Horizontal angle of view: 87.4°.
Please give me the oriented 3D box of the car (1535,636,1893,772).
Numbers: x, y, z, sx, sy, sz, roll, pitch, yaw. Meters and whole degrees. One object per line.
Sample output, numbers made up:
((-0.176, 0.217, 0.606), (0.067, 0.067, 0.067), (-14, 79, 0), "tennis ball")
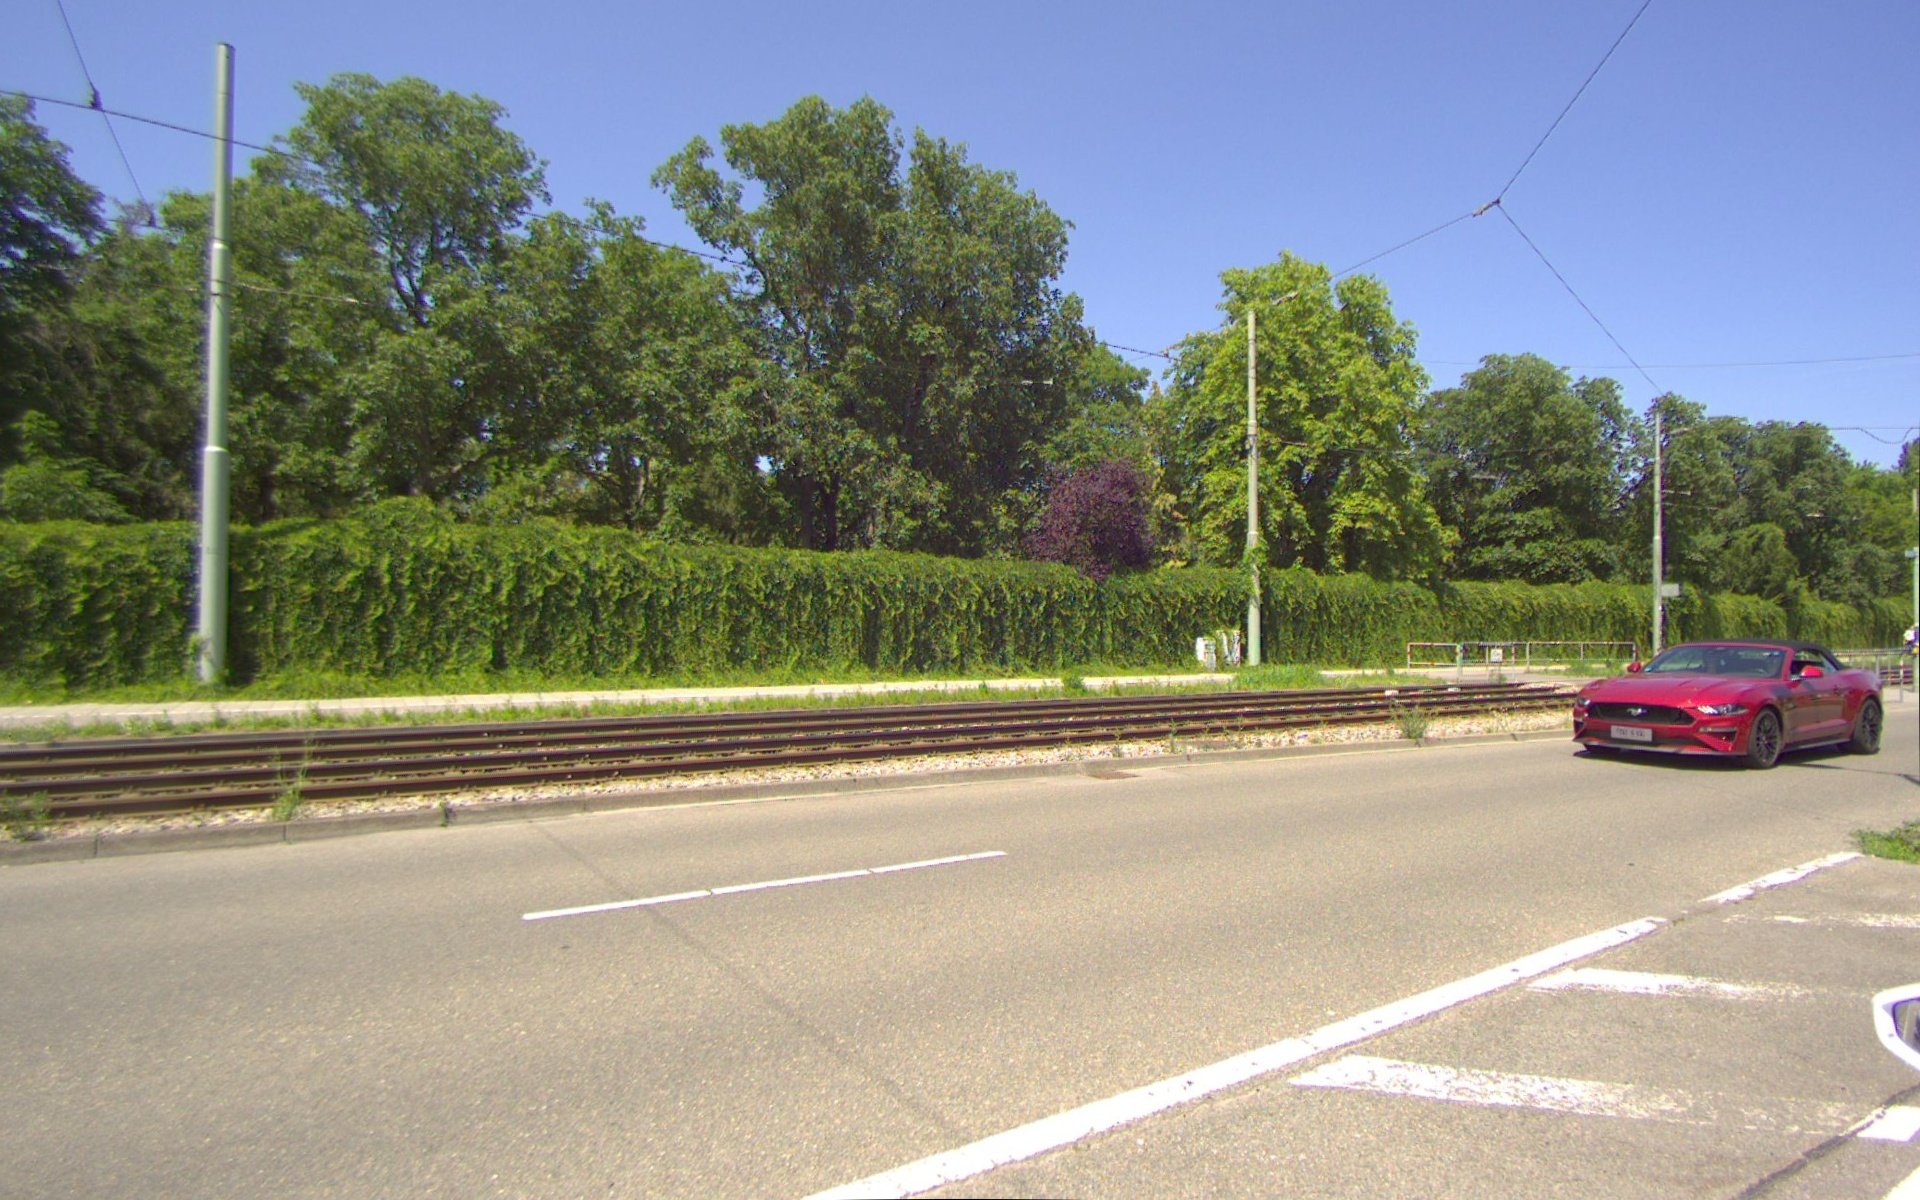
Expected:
((9.344, 1.142, 12.378), (4.485, 1.376, 1.974), (1, -1, -30), "car")

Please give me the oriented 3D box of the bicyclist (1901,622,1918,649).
((51.829, 1.932, 54.815), (0.555, 1.497, 0.555), (1, -1, -31), "bicyclist")

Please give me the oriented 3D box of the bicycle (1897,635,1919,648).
((51.797, 2.262, 54.787), (1.700, 0.656, 0.558), (1, -1, -31), "bicycle")
